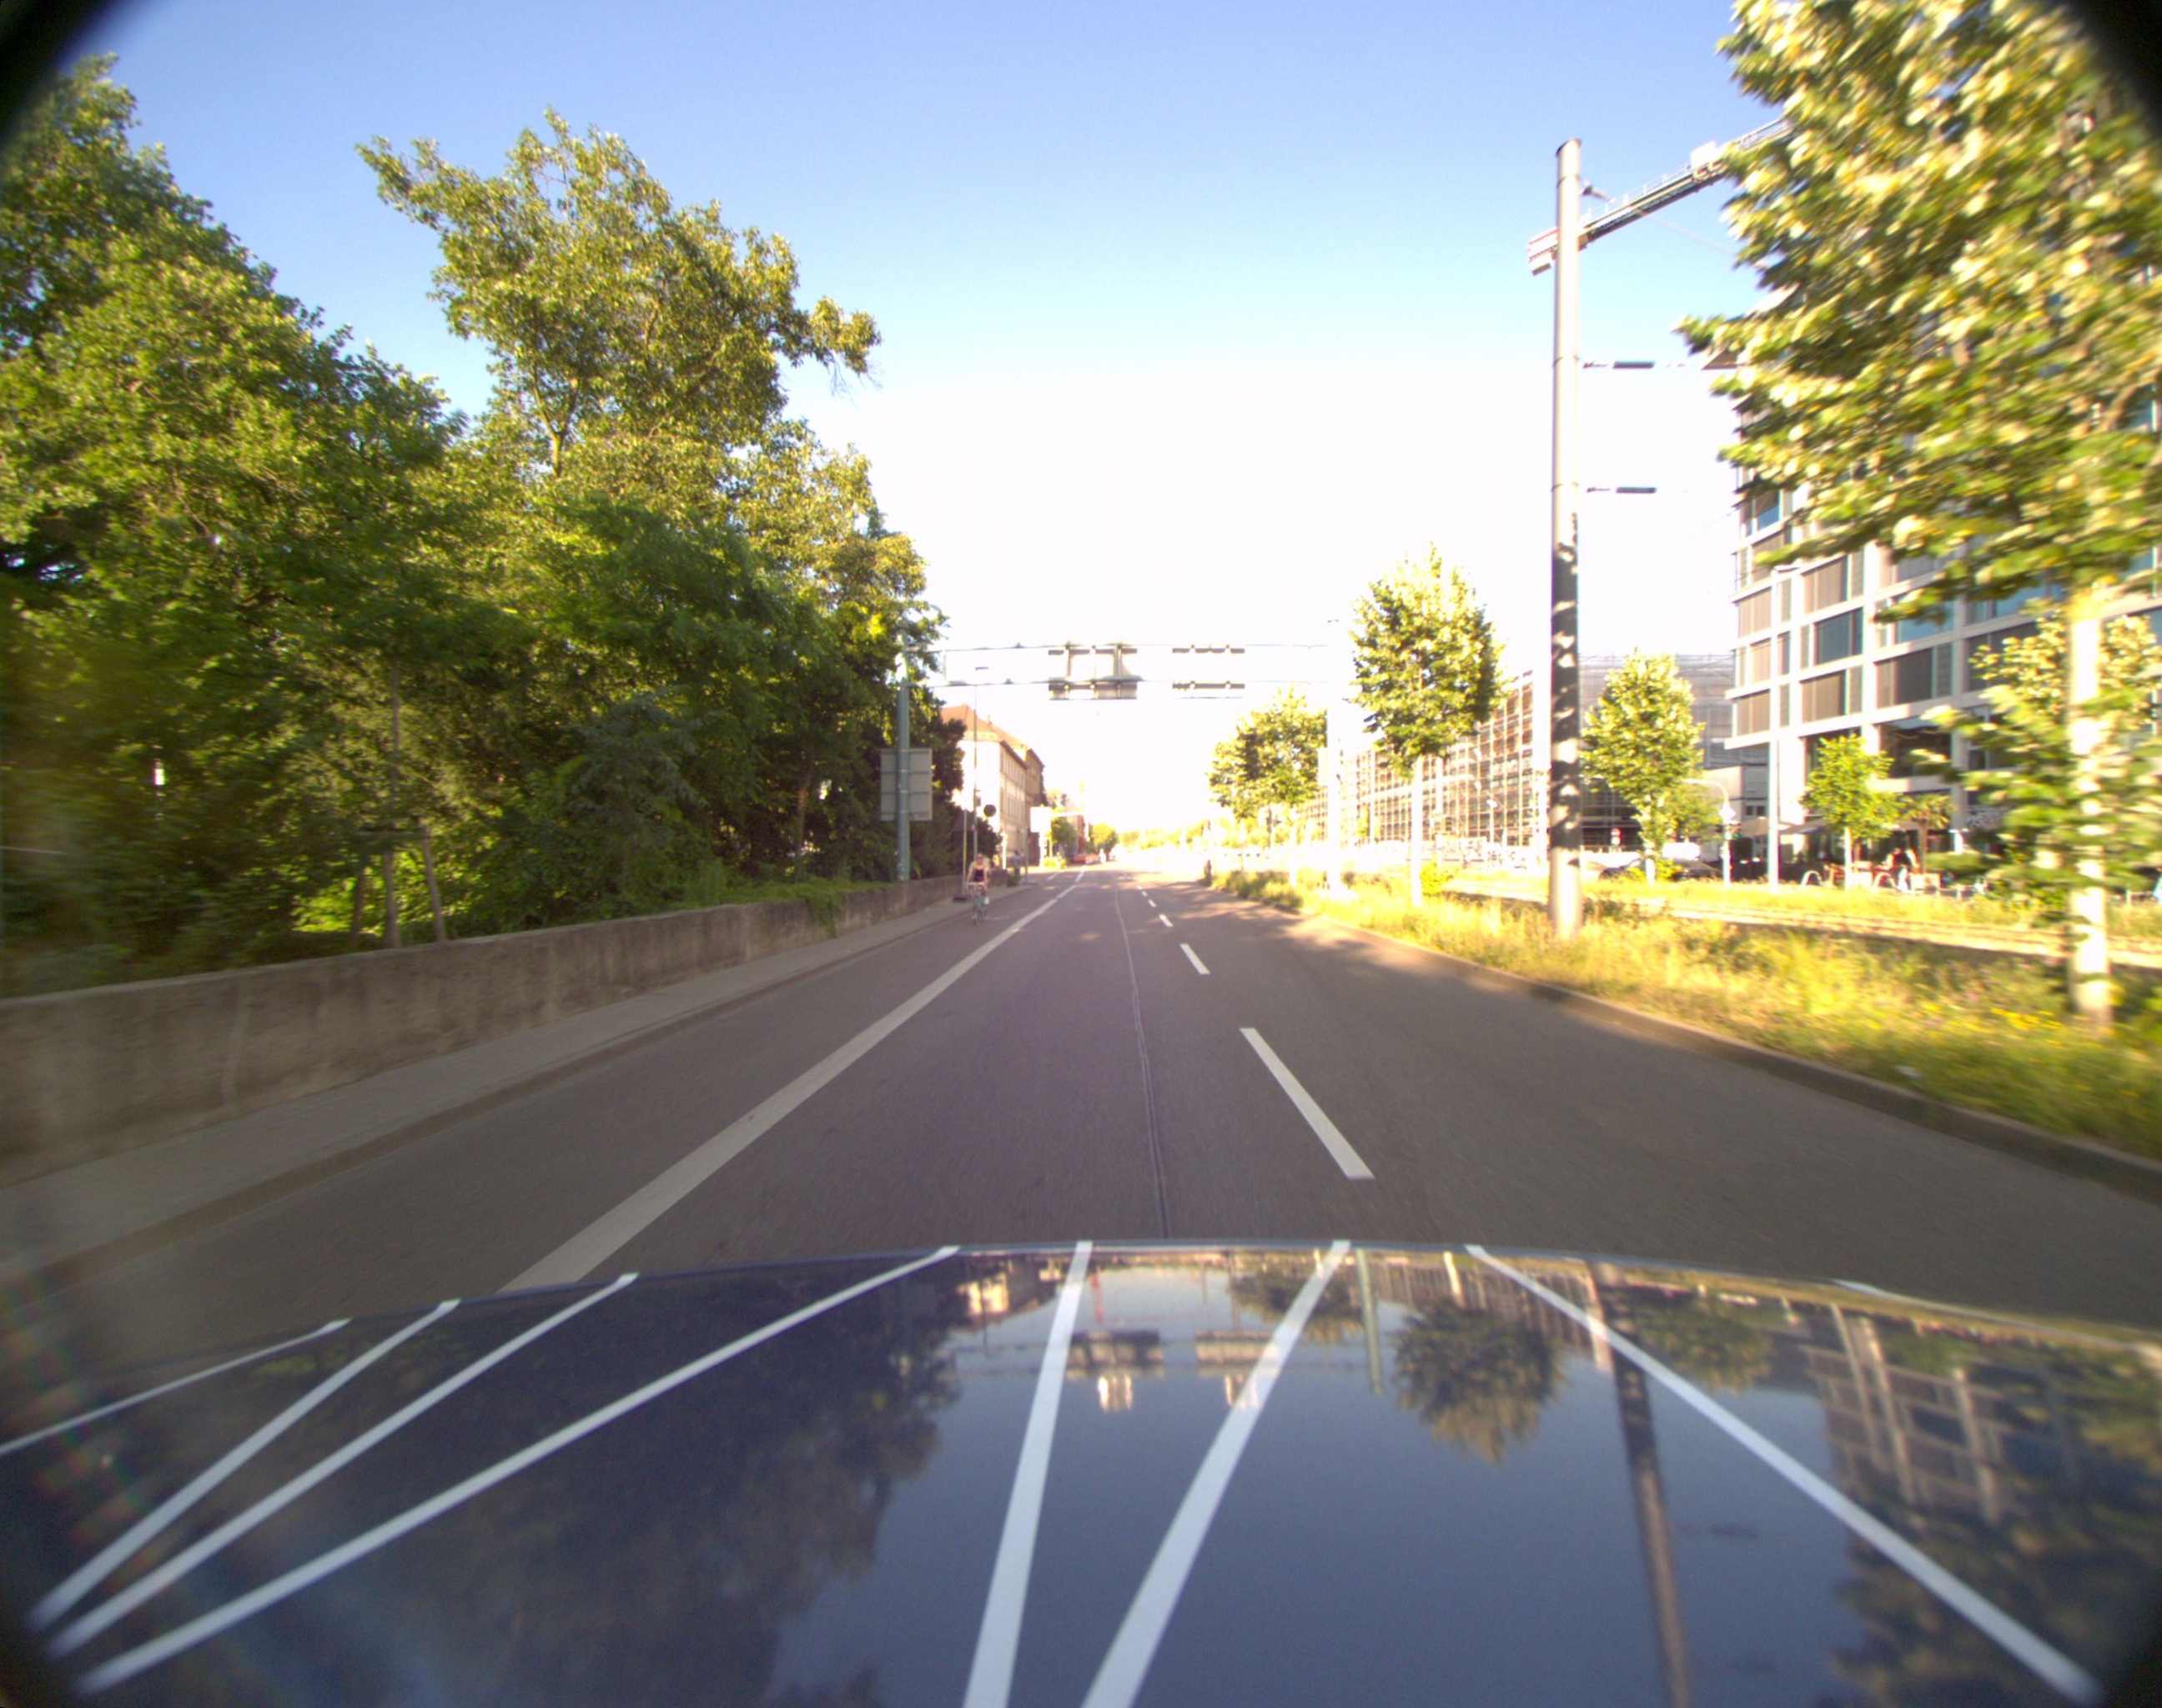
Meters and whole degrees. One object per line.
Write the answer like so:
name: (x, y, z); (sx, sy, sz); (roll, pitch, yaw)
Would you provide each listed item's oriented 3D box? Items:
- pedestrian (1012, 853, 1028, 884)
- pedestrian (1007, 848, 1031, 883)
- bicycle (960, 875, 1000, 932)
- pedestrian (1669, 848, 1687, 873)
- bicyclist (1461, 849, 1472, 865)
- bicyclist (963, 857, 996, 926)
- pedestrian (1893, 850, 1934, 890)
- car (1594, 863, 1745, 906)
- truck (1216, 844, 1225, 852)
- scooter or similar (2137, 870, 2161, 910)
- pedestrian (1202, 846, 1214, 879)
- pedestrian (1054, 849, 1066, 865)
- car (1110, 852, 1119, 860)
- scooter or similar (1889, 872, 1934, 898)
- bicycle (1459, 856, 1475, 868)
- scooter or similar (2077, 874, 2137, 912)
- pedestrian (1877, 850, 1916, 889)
pedestrian: (-3.251, 0.760, 40.590); (0.768, 1.627, 0.769); (2, 1, -7)
pedestrian: (-3.254, 0.608, 39.844); (0.861, 1.792, 0.905); (1, 1, -32)
bicycle: (-2.203, 1.062, 16.772); (0.522, 1.091, 1.843); (-3, 0, 2)
pedestrian: (36.147, 0.391, 45.991); (0.588, 1.490, 0.576); (0, 1, -12)
bicyclist: (34.757, 0.289, 68.511); (0.626, 1.456, 0.851); (0, 1, 7)
bicyclist: (-2.235, 0.799, 16.802); (0.553, 1.482, 1.081); (0, 0, 2)
pedestrian: (36.098, 0.674, 32.963); (0.870, 1.711, 0.804); (0, 1, 12)
car: (21.365, 1.056, 27.882); (1.895, 1.336, 4.851); (0, 0, 2)
truck: (42.131, -1.756, 229.547); (2.143, 2.559, 4.741); (0, 0, 4)
scooter or similar: (32.213, 1.055, 22.495); (1.246, 1.165, 0.406); (0, 1, 3)
pedestrian: (6.454, 0.416, 38.692); (0.599, 1.689, 0.714); (0, 1, 8)
pedestrian: (-2.133, 0.285, 76.247); (0.924, 1.639, 0.767); (1, 1, 39)
car: (7.658, 0.399, 173.416); (1.998, 1.696, 4.000); (0, 1, 1)
scooter or similar: (32.661, 1.209, 29.884); (1.246, 1.000, 0.406); (0, 1, 3)
bicycle: (34.770, 0.690, 68.536); (0.626, 1.060, 2.079); (0, 1, 7)
scooter or similar: (32.320, 1.217, 23.939); (1.246, 1.165, 0.406); (0, 1, 3)
pedestrian: (36.211, 0.667, 33.753); (0.870, 1.711, 0.804); (0, 1, 12)
